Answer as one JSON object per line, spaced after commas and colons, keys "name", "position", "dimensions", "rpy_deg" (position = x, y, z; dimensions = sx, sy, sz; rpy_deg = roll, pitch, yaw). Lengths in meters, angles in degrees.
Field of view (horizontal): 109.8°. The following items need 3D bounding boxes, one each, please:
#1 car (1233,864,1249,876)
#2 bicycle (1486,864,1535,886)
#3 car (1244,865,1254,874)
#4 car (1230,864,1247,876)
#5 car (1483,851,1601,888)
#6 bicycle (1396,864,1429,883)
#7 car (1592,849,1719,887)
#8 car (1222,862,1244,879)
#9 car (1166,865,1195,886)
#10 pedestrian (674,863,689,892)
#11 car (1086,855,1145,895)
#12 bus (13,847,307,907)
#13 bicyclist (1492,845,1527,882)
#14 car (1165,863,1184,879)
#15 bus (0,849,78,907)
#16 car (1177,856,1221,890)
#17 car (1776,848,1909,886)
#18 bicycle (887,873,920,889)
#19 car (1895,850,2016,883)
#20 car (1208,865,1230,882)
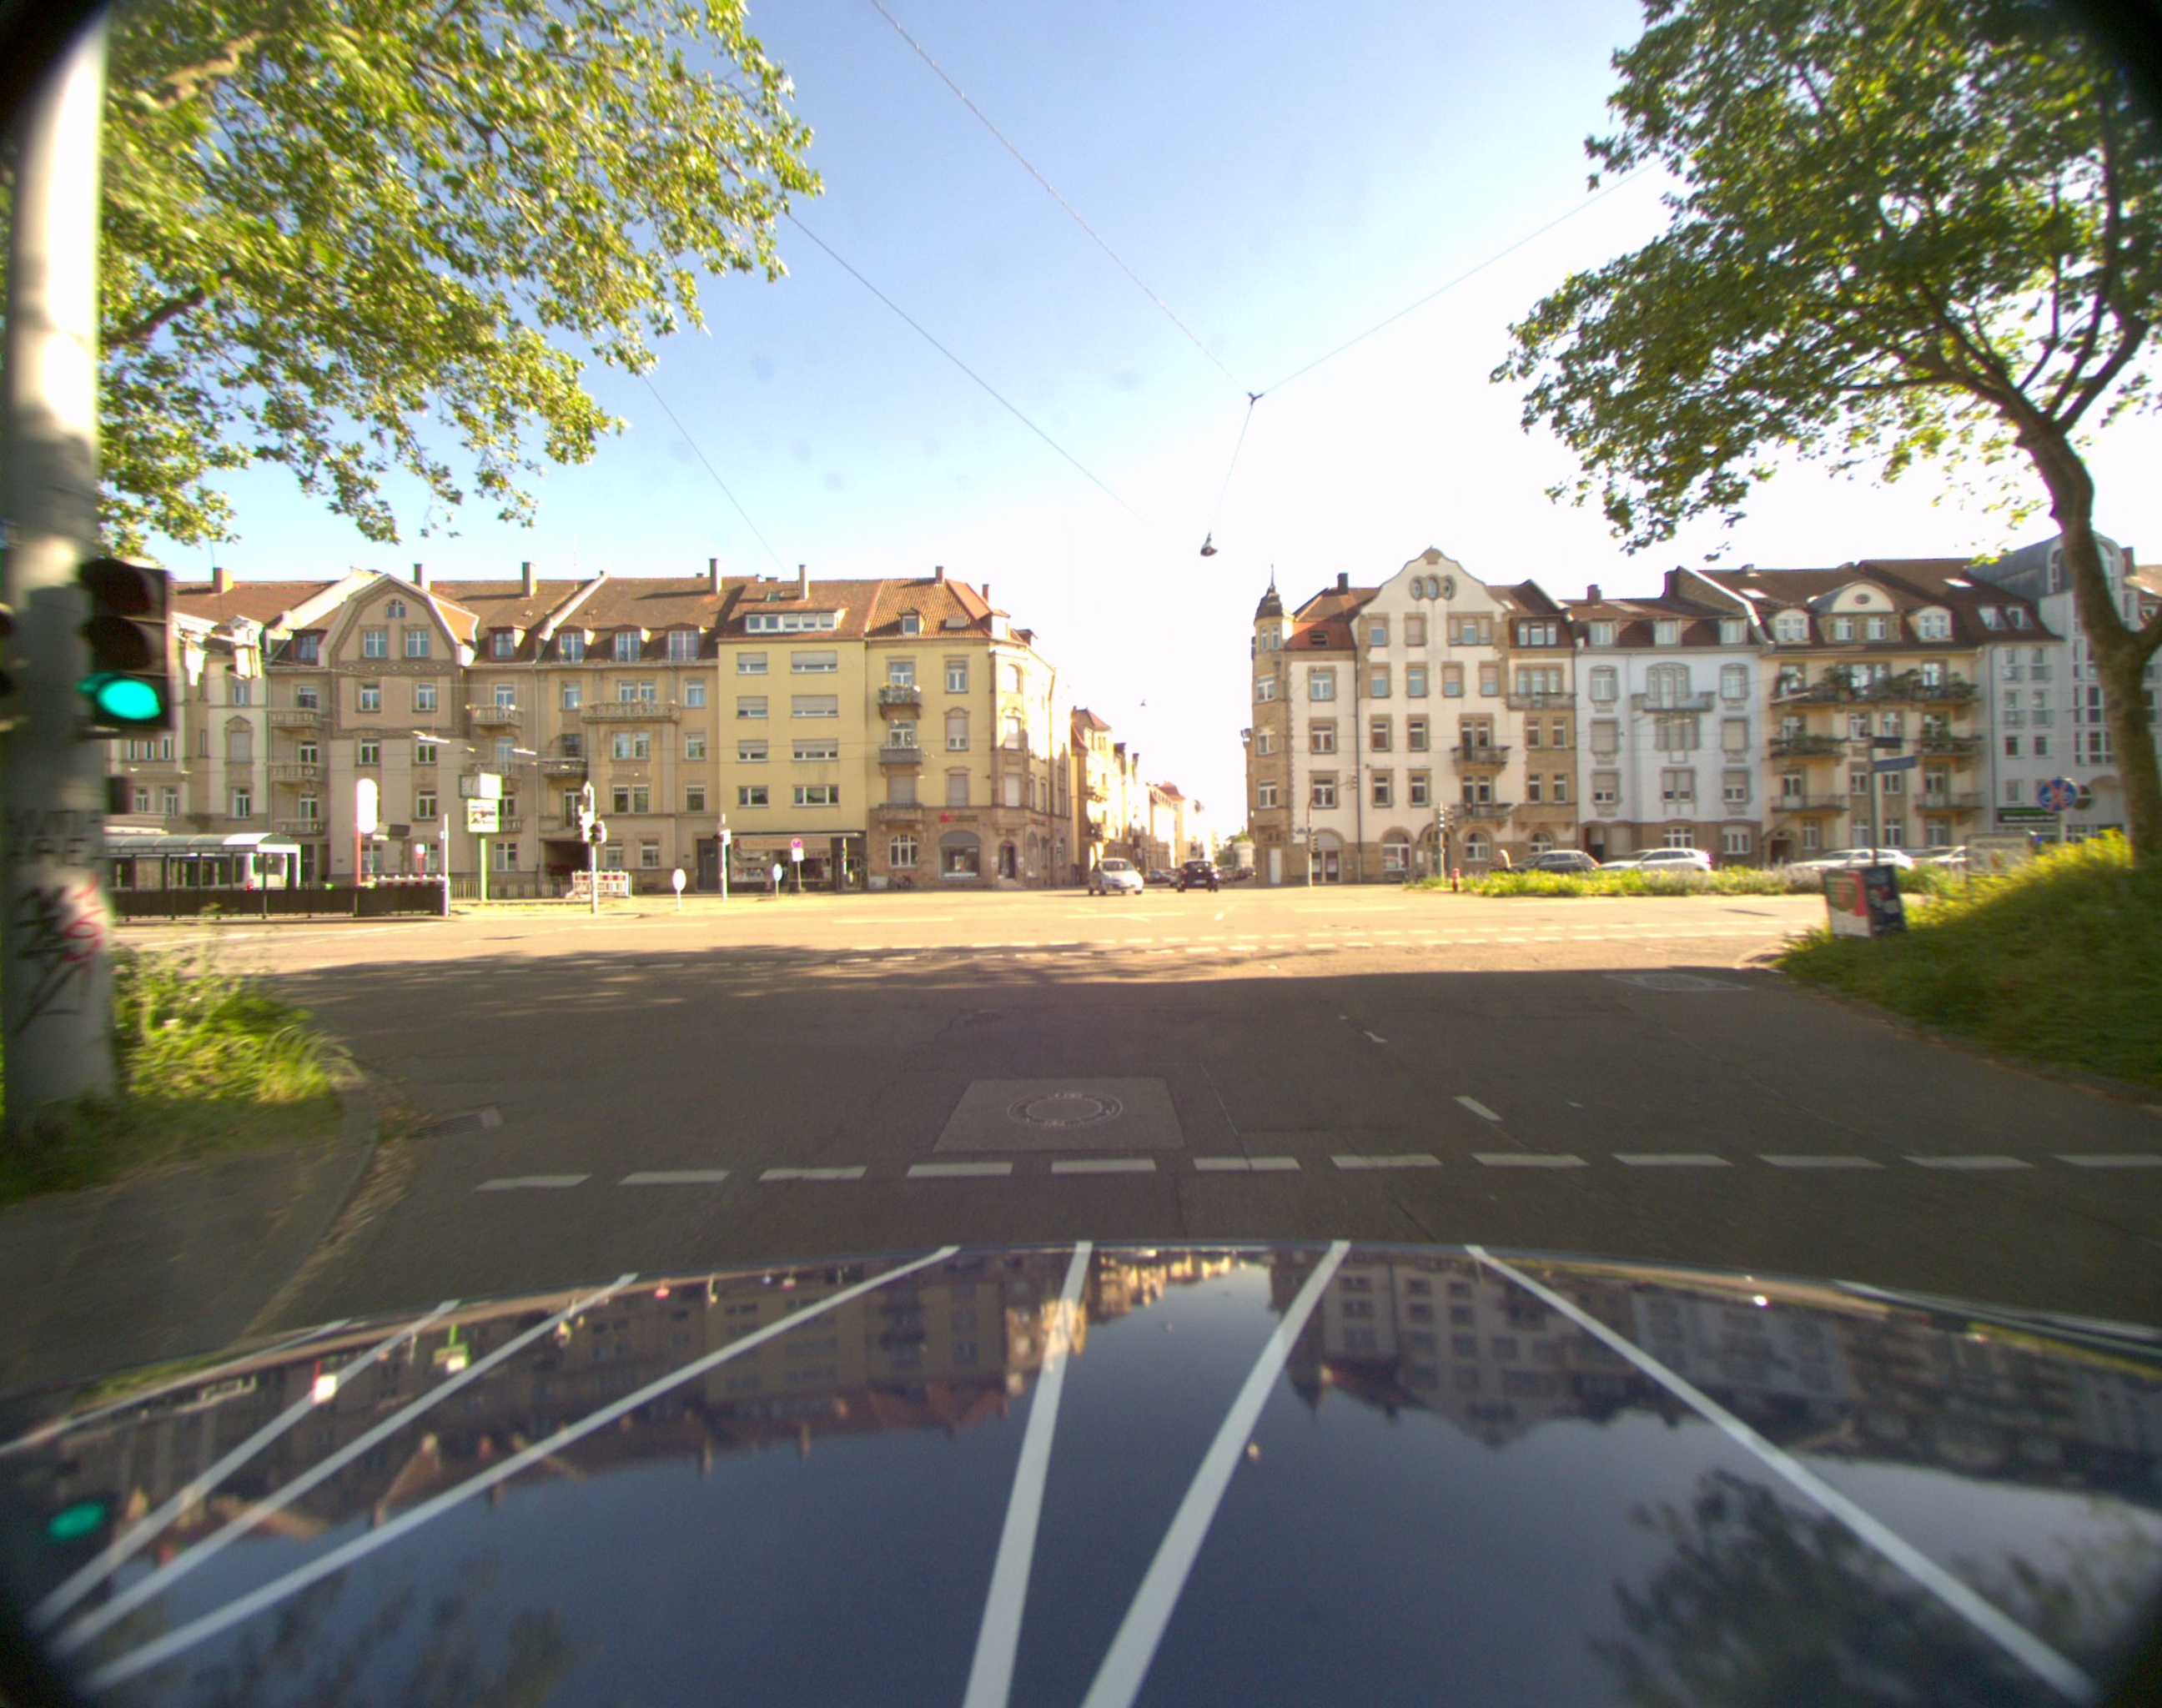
{"name": "car", "position": [23.860, 2.428, 113.257], "dimensions": [1.915, 1.614, 4.352], "rpy_deg": [-4, -1, 15]}
{"name": "bicycle", "position": [18.365, 0.912, 32.512], "dimensions": [1.636, 0.919, 0.795], "rpy_deg": [-1, -1, 2]}
{"name": "car", "position": [33.389, 2.989, 150.970], "dimensions": [1.916, 1.614, 4.351], "rpy_deg": [-4, -1, 13]}
{"name": "car", "position": [22.206, 2.266, 107.037], "dimensions": [1.915, 1.508, 4.352], "rpy_deg": [-4, -1, 15]}
{"name": "car", "position": [21.362, 0.732, 35.328], "dimensions": [4.237, 1.634, 2.001], "rpy_deg": [-1, -2, 2]}
{"name": "bicycle", "position": [20.716, 1.209, 47.466], "dimensions": [1.809, 1.127, 0.610], "rpy_deg": [-1, -1, 0]}
{"name": "car", "position": [24.431, 0.608, 32.410], "dimensions": [4.016, 1.520, 1.766], "rpy_deg": [-1, -1, 2]}
{"name": "car", "position": [16.436, 1.787, 81.871], "dimensions": [1.915, 1.649, 4.352], "rpy_deg": [-4, -1, 15]}
{"name": "car", "position": [7.204, 1.550, 55.255], "dimensions": [1.810, 1.449, 4.002], "rpy_deg": [-1, -1, 4]}
{"name": "pedestrian", "position": [-25.194, 1.489, 47.963], "dimensions": [0.521, 1.792, 0.709], "rpy_deg": [-1, -1, 4]}
{"name": "car", "position": [1.370, 0.853, 31.550], "dimensions": [1.653, 1.559, 3.613], "rpy_deg": [0, -1, -11]}
{"name": "bus", "position": [-50.123, 1.223, 41.771], "dimensions": [10.686, 3.015, 3.131], "rpy_deg": [-1, -2, -12]}
{"name": "bicyclist", "position": [18.319, 0.414, 32.498], "dimensions": [1.074, 1.533, 0.687], "rpy_deg": [-1, 0, 2]}
{"name": "car", "position": [12.088, 2.191, 98.115], "dimensions": [1.831, 2.022, 3.825], "rpy_deg": [-3, -2, 14]}
{"name": "bus", "position": [-60.713, 1.320, 39.562], "dimensions": [10.869, 2.998, 3.092], "rpy_deg": [-1, -2, -12]}
{"name": "car", "position": [5.374, 0.837, 35.039], "dimensions": [1.664, 1.455, 3.810], "rpy_deg": [-1, 0, 4]}
{"name": "car", "position": [32.144, 0.542, 32.146], "dimensions": [3.894, 1.521, 1.766], "rpy_deg": [0, 0, 0]}
{"name": "bicycle", "position": [-11.233, 1.693, 48.233], "dimensions": [1.951, 0.970, 0.516], "rpy_deg": [-1, 2, 1]}
{"name": "car", "position": [39.701, 0.558, 34.546], "dimensions": [3.699, 1.368, 1.593], "rpy_deg": [-1, 0, -1]}
{"name": "car", "position": [12.242, 1.740, 67.352], "dimensions": [1.554, 1.403, 3.576], "rpy_deg": [1, -1, 16]}
